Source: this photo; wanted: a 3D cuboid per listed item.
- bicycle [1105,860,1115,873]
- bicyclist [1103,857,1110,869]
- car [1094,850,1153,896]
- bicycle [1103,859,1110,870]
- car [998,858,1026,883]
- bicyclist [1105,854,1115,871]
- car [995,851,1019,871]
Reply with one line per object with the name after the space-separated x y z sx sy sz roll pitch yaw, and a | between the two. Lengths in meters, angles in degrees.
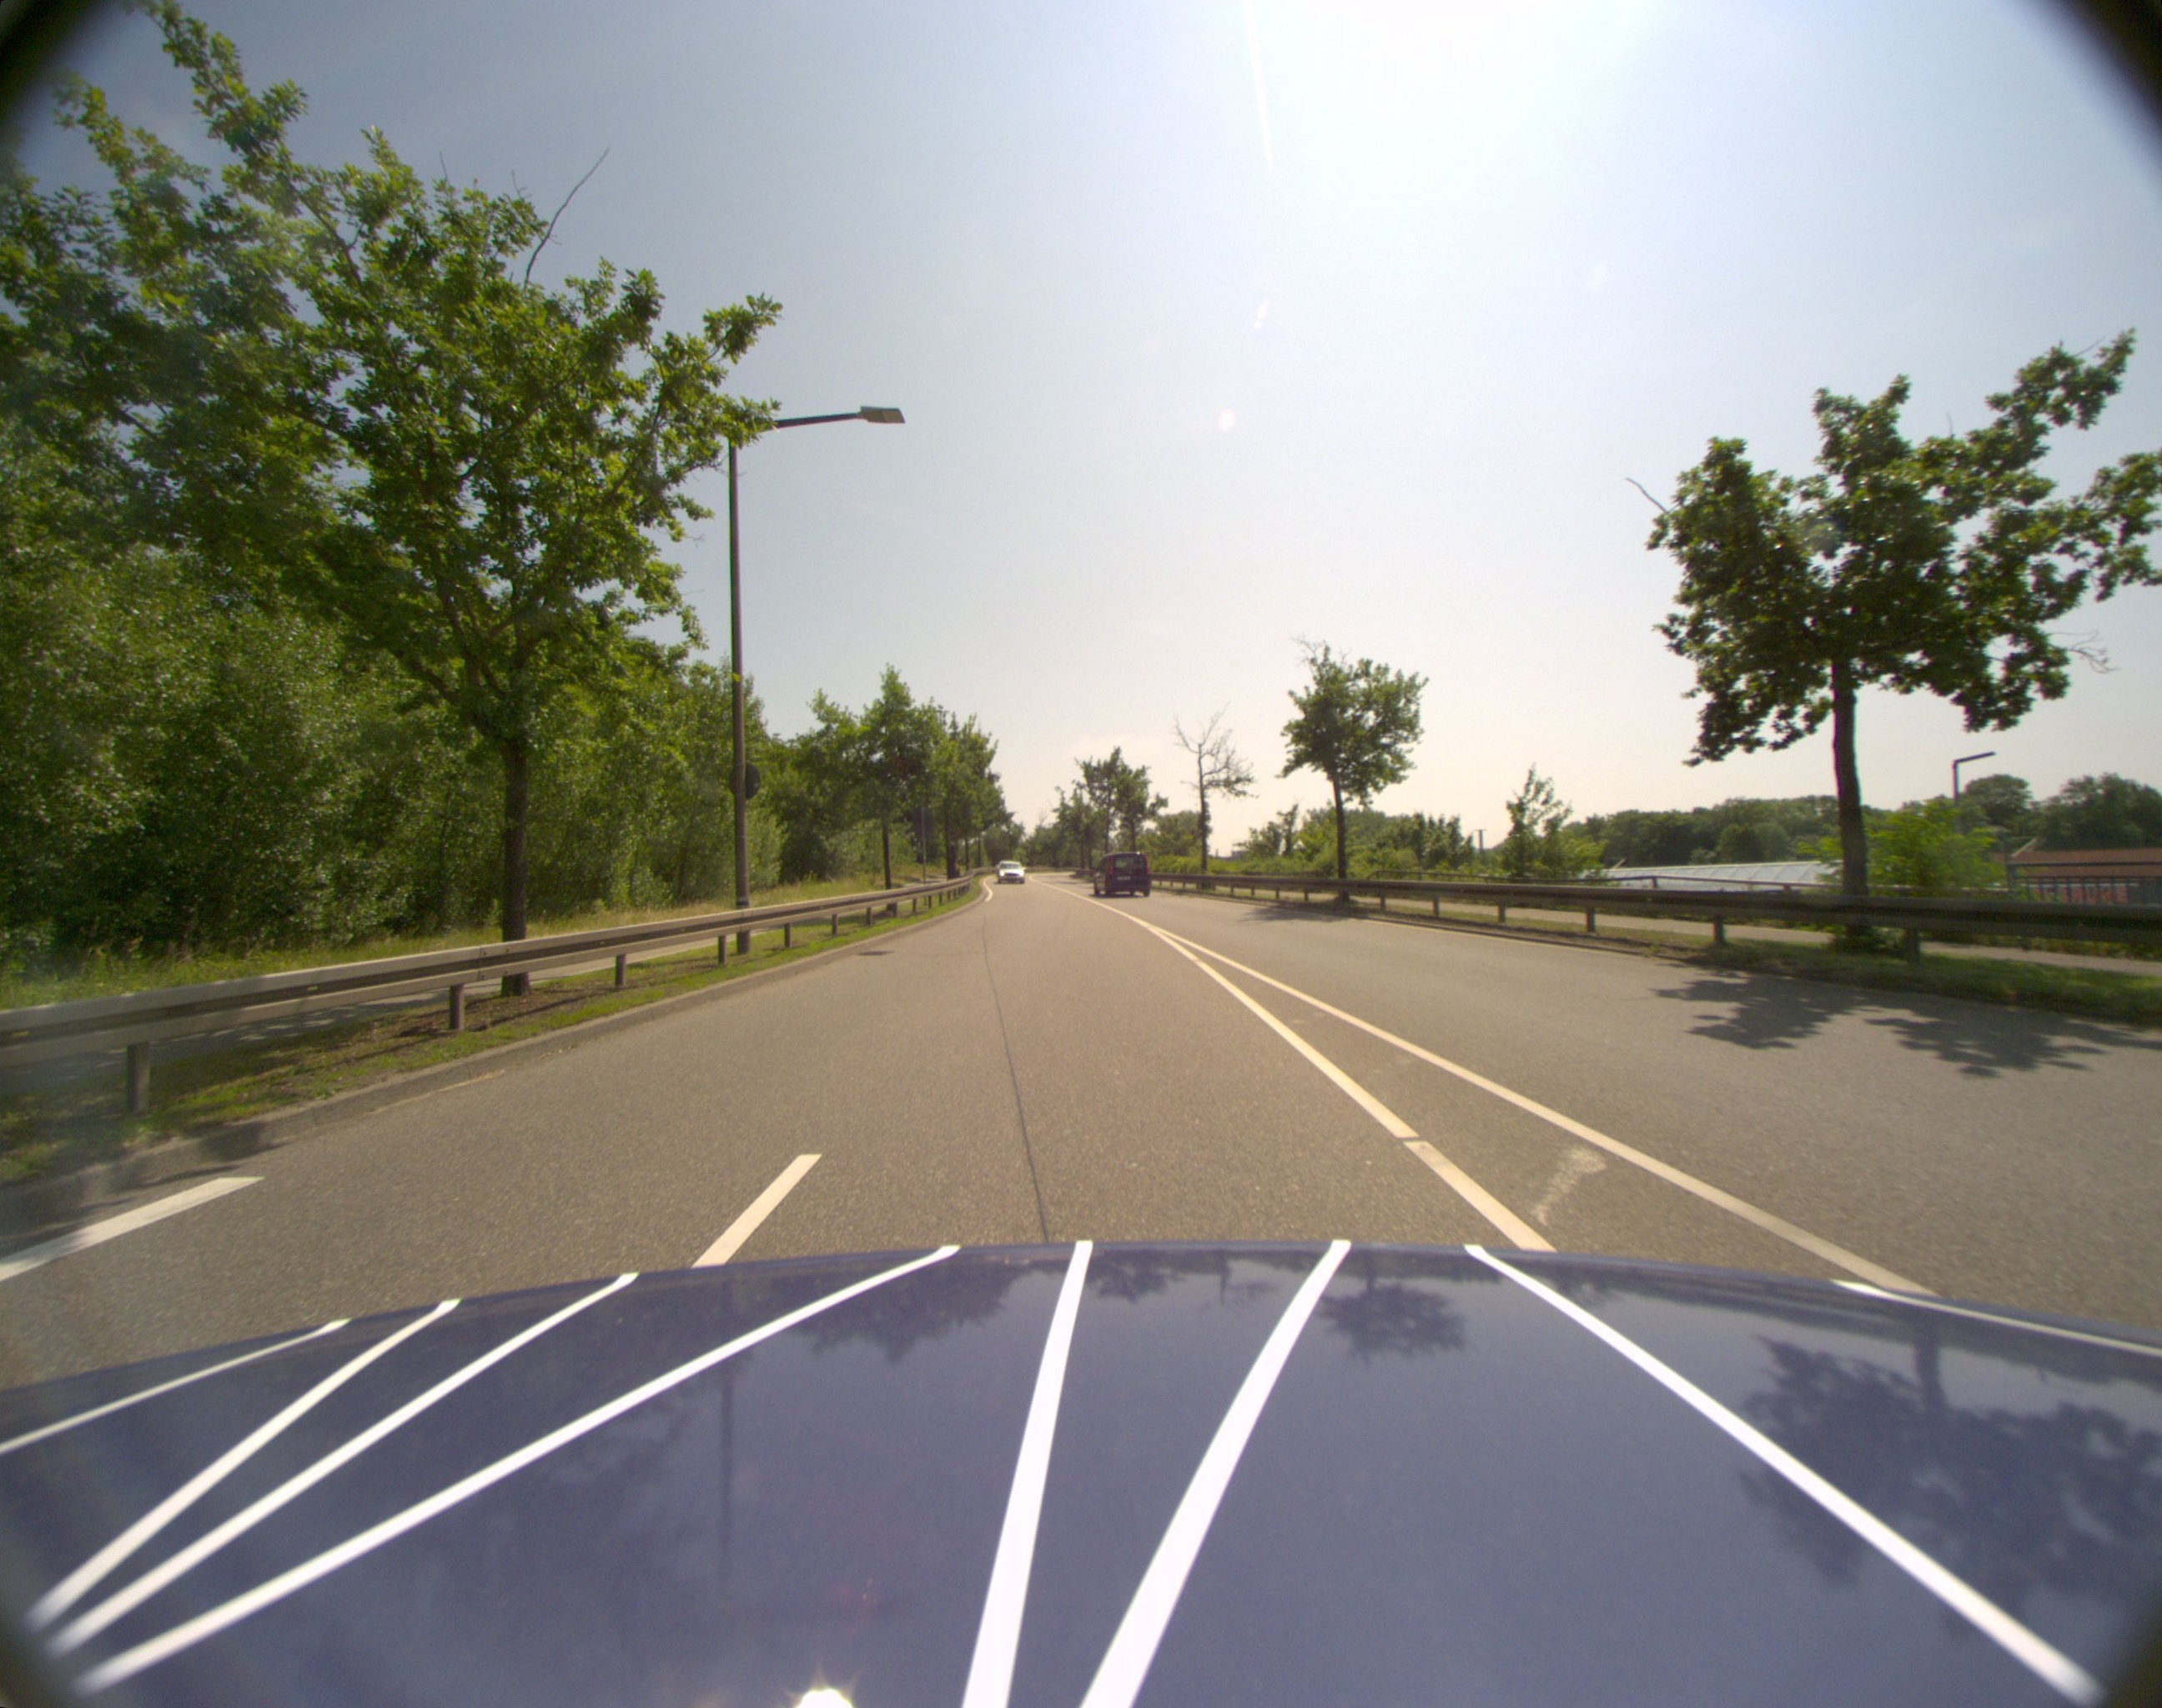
2.510 1.069 66.102 0.736 1.110 2.045 2 0 -2 | bicycle
3.169 1.086 95.124 0.743 1.480 0.757 0 0 7 | bicyclist
1.702 0.749 31.867 1.812 1.749 4.250 -3 0 -6 | car
3.168 1.325 95.110 0.735 1.274 2.047 0 0 7 | bicycle
-4.547 1.036 50.111 1.764 1.490 4.230 -1 1 -6 | car
2.529 0.762 66.148 0.731 1.457 0.824 2 0 -2 | bicyclist
-6.778 0.623 69.732 1.799 1.772 4.293 0 0 -1 | car
